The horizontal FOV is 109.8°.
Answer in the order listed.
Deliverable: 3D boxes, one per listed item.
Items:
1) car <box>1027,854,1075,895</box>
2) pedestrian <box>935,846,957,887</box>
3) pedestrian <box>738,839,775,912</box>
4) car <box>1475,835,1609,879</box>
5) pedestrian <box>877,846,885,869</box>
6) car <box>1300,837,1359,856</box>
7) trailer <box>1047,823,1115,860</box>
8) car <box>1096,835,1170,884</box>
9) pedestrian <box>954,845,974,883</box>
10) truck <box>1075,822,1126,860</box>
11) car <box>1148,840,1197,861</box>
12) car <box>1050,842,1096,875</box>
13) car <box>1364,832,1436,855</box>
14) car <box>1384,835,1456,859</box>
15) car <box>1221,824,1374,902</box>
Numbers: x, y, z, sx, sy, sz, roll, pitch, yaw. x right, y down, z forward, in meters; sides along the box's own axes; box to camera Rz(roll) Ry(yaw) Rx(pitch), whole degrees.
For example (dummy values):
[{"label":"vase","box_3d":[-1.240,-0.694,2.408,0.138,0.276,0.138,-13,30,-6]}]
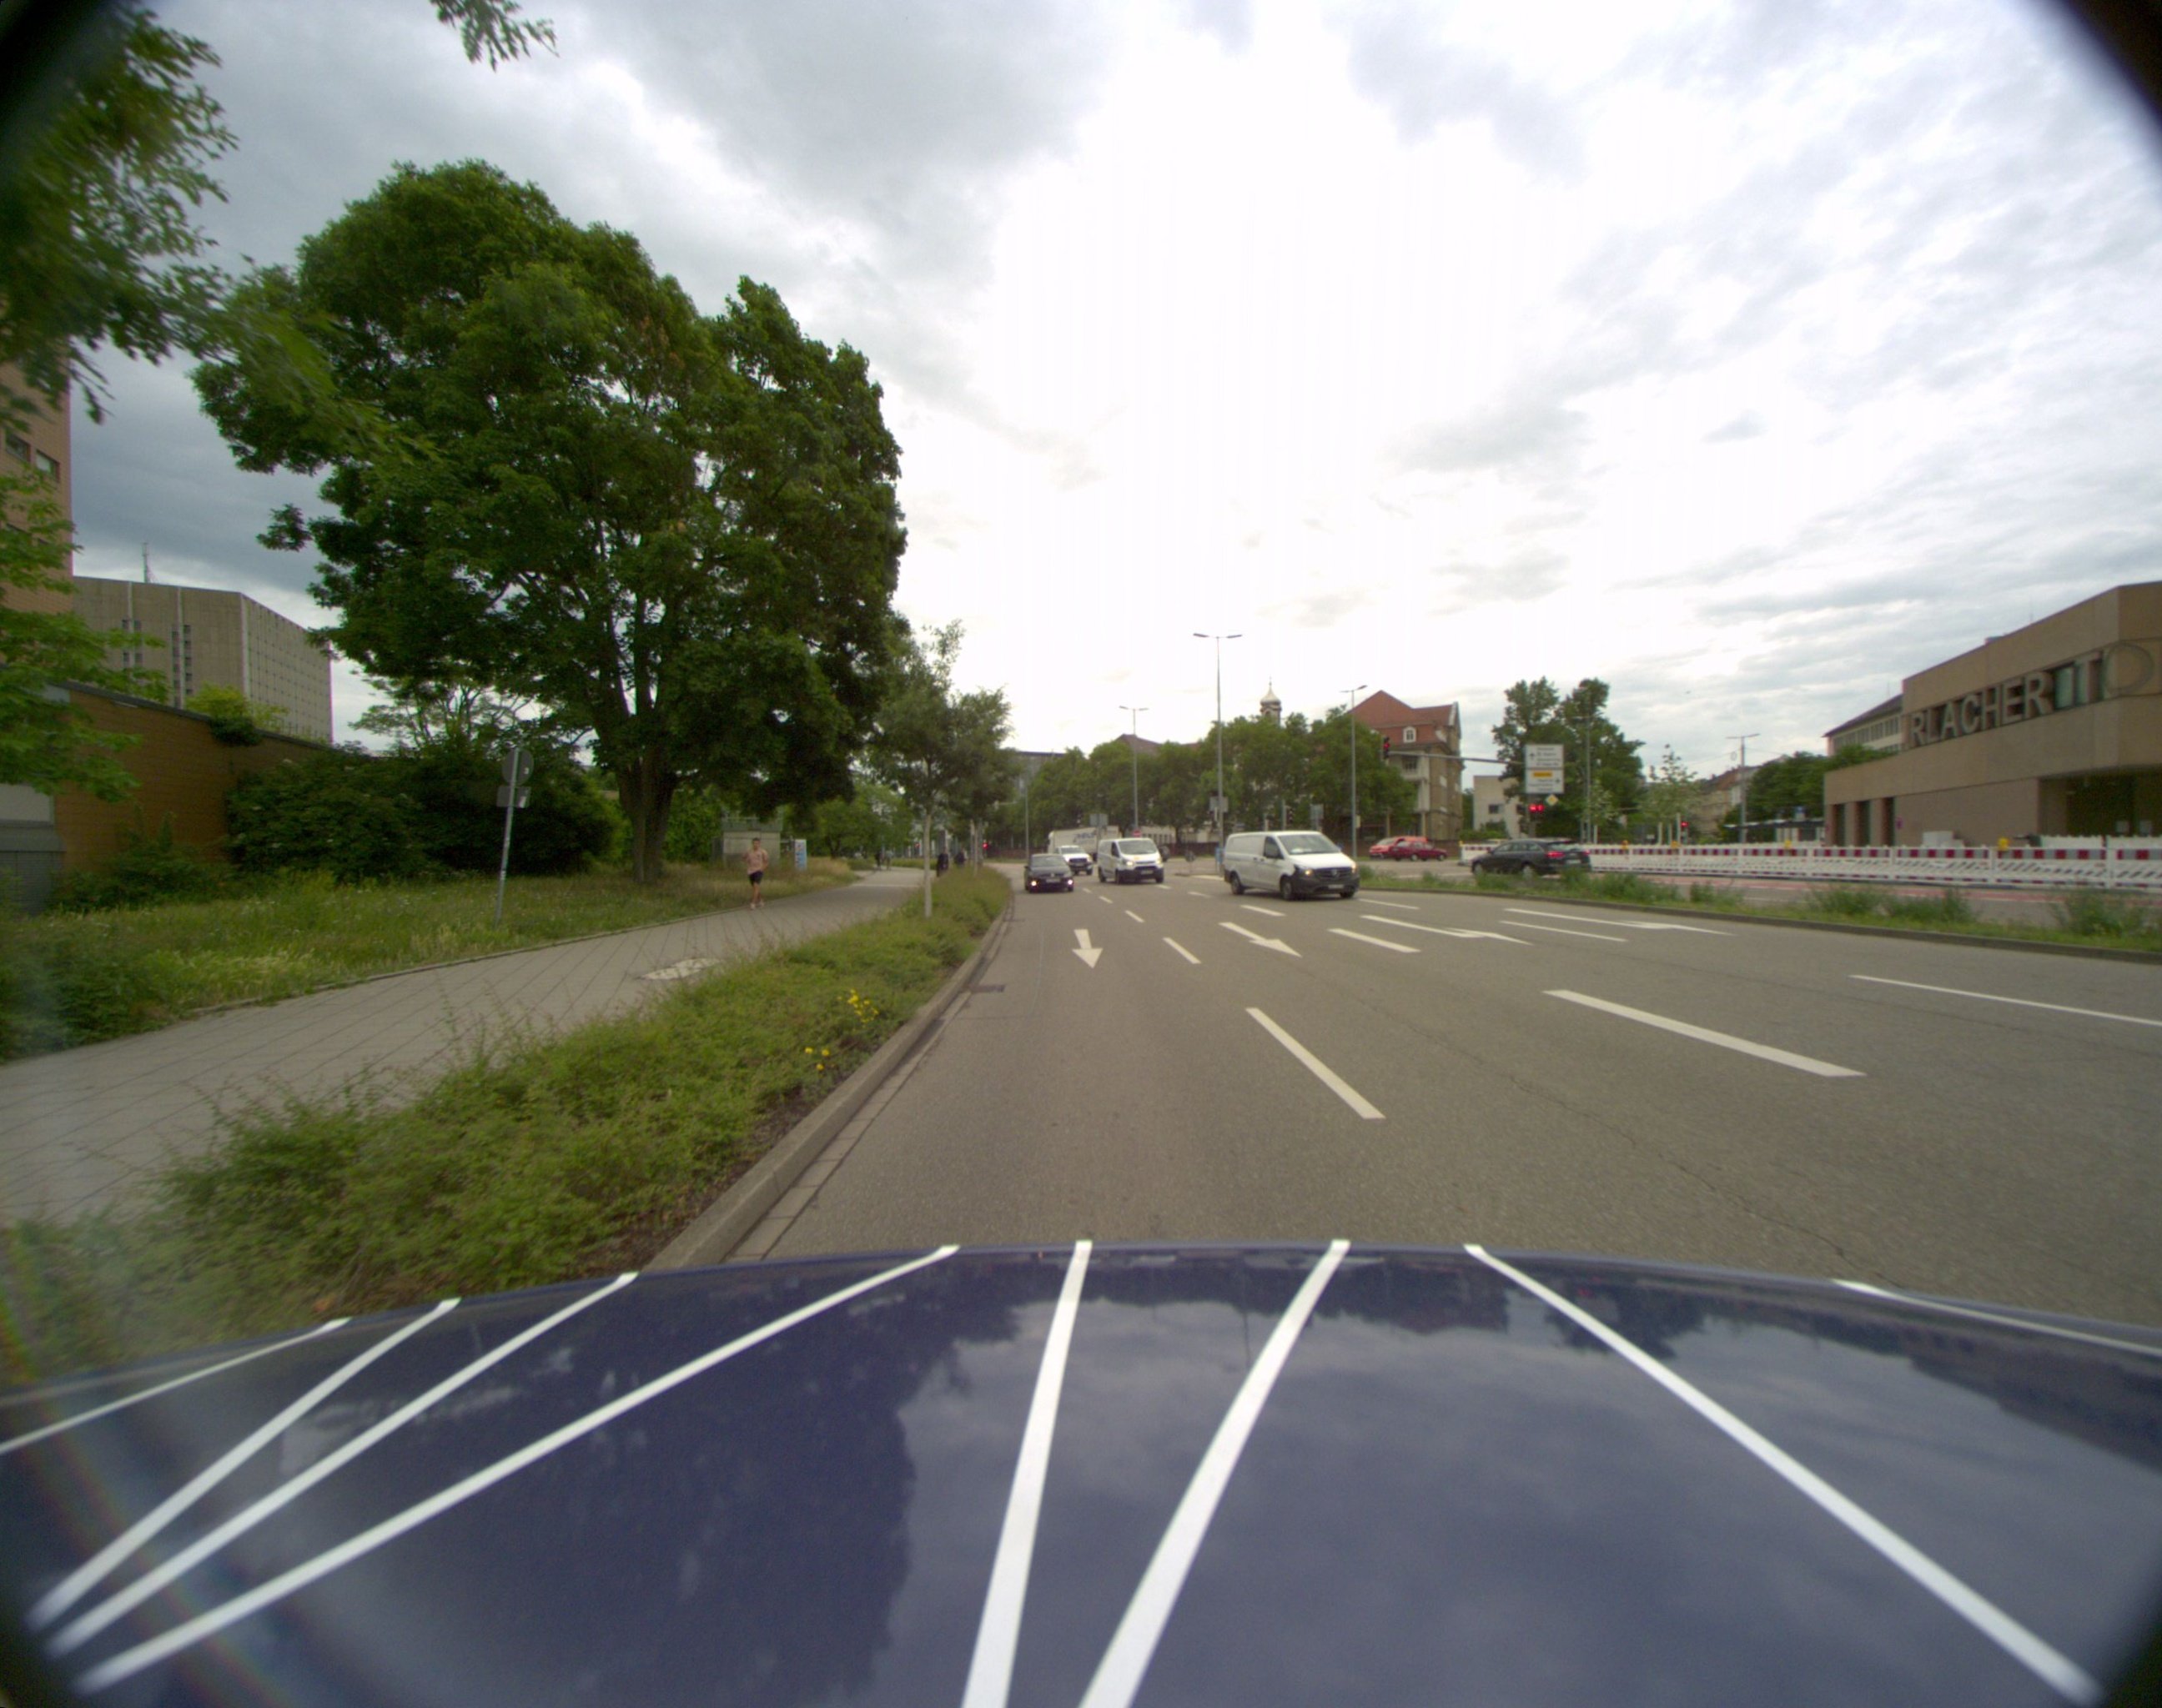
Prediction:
[{"label":"car","box_3d":[-1.220,0.728,29.329,1.656,1.404,3.998,-1,0,-5]},{"label":"pedestrian","box_3d":[-6.087,0.568,34.199,0.723,1.790,0.596,1,1,-43]},{"label":"pedestrian","box_3d":[-8.113,0.529,19.007,0.630,1.790,0.597,2,1,0]},{"label":"car","box_3d":[16.170,0.082,26.914,2.000,1.390,3.997,-1,0,-7]},{"label":"pedestrian","box_3d":[-15.936,0.264,60.519,0.598,1.790,0.518,1,1,-19]},{"label":"car","box_3d":[20.963,-0.617,64.212,4.347,1.531,1.911,-1,1,-10]},{"label":"trailer","box_3d":[-0.228,-1.323,90.327,2.951,3.990,13.785,-3,1,-22]},{"label":"car","box_3d":[2.191,0.220,33.362,2.001,1.930,4.518,-1,0,-12]},{"label":"pedestrian","box_3d":[-5.688,0.480,36.908,0.723,1.790,0.596,1,1,-43]},{"label":"truck","box_3d":[2.042,-1.356,84.821,2.917,4.001,7.148,-3,1,-22]},{"label":"car","box_3d":[8.405,-0.311,69.901,2.004,1.718,3.989,-3,1,-45]},{"label":"car","box_3d":[-0.547,0.224,45.834,2.091,1.838,4.747,-1,0,-9]},{"label":"car","box_3d":[24.940,-0.800,59.328,5.247,1.707,1.910,-1,1,-19]},{"label":"car","box_3d":[23.602,-0.490,52.957,4.349,1.531,1.910,-1,1,-16]},{"label":"car","box_3d":[5.934,0.220,21.640,1.924,1.871,5.083,-3,1,-13]}]
